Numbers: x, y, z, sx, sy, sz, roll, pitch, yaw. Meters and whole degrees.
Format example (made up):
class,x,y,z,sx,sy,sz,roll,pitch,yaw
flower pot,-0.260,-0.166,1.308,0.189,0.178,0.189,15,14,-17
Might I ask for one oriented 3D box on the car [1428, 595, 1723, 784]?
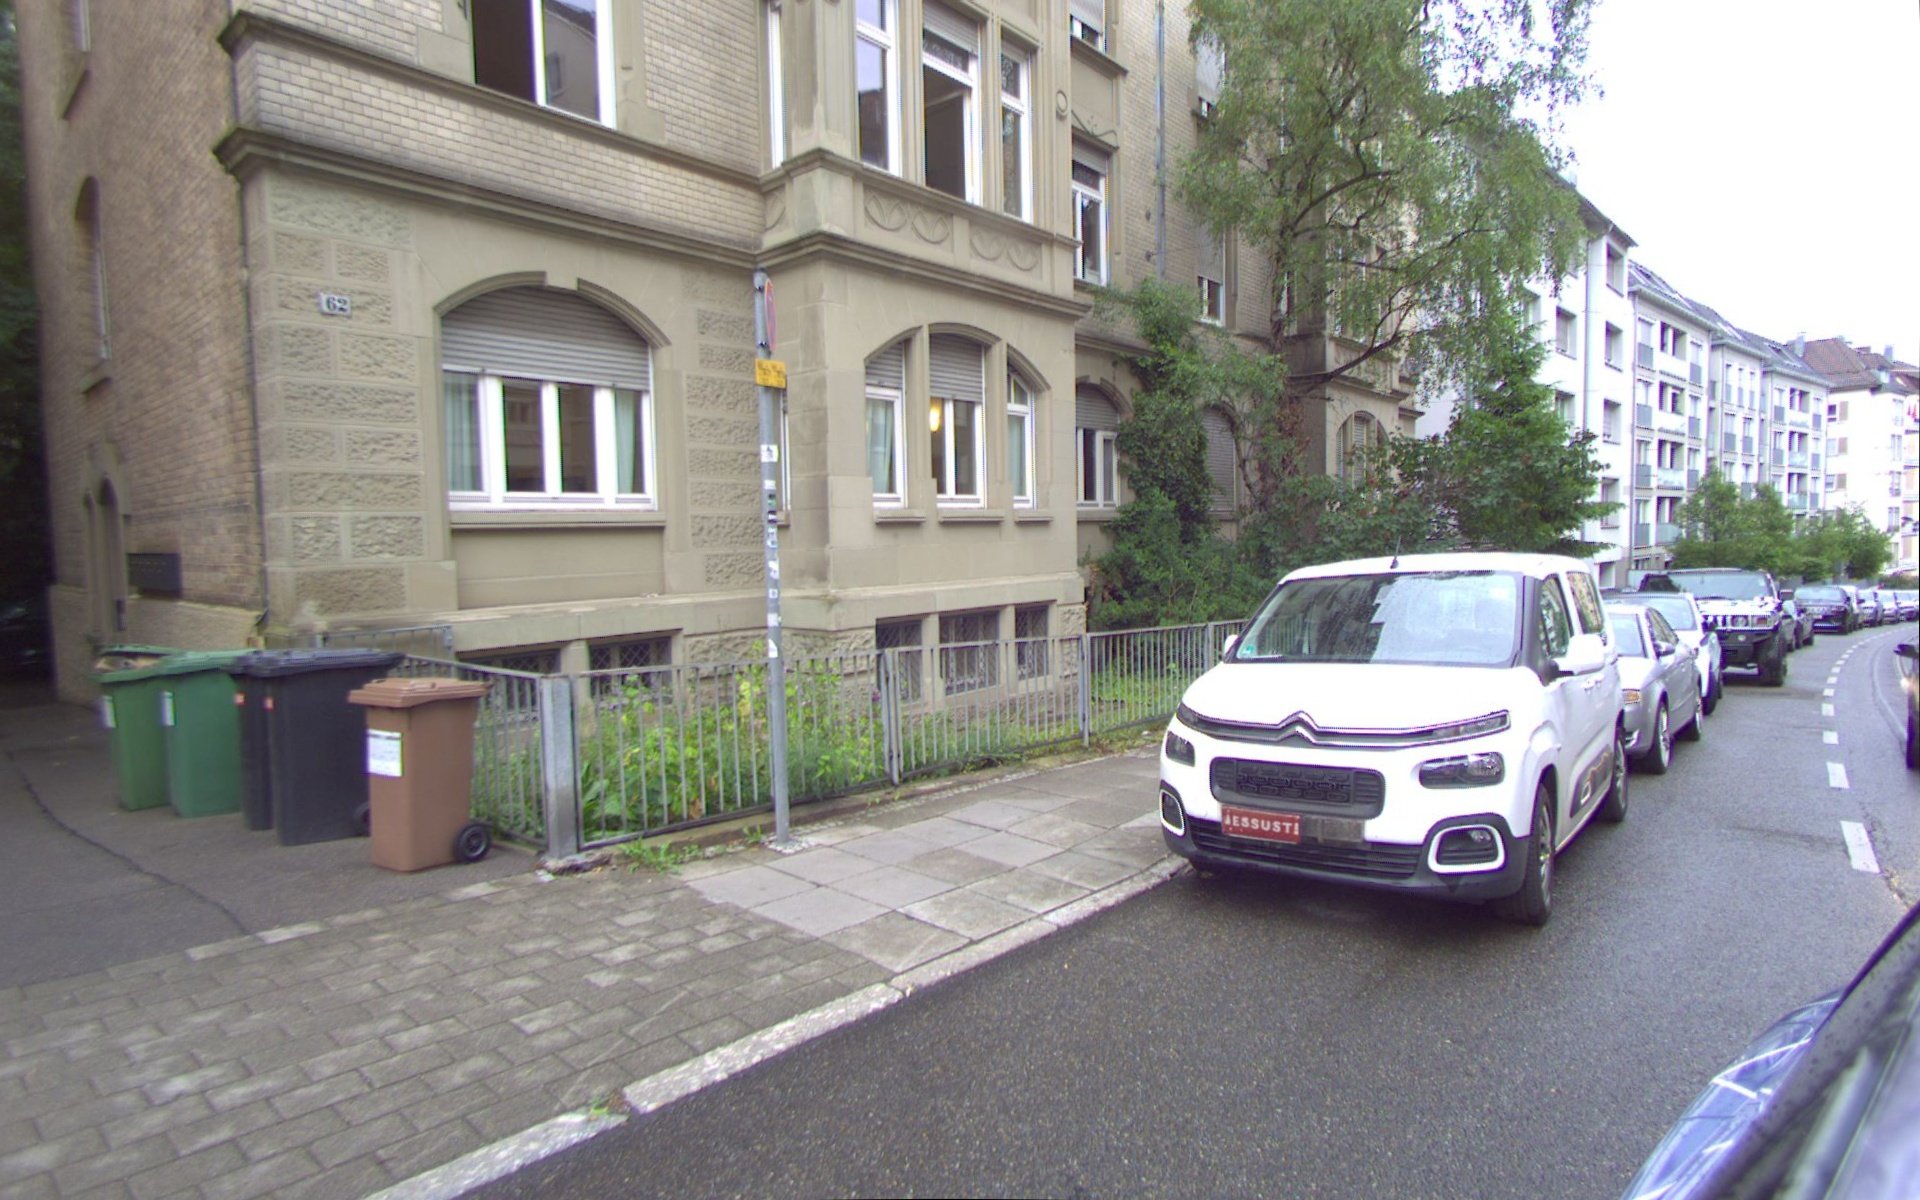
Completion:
class,x,y,z,sx,sy,sz,roll,pitch,yaw
car,6.262,0.687,10.041,1.747,1.418,4.411,-1,0,41

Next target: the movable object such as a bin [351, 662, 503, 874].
class,x,y,z,sx,sy,sz,roll,pitch,yaw
movable object such as a bin,-2.673,0.811,5.085,0.425,0.931,0.529,3,2,38

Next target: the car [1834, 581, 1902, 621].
class,x,y,z,sx,sy,sz,roll,pitch,yaw
car,41.373,0.010,46.082,4.608,1.676,1.834,-1,2,-43

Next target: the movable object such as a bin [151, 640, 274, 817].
class,x,y,z,sx,sy,sz,roll,pitch,yaw
movable object such as a bin,-4.924,0.815,6.669,0.495,1.075,0.547,-3,-1,41

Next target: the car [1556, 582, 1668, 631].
class,x,y,z,sx,sy,sz,roll,pitch,yaw
car,20.578,0.175,31.895,4.079,1.444,1.816,0,0,-39

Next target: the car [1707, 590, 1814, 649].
class,x,y,z,sx,sy,sz,roll,pitch,yaw
car,20.409,0.436,25.750,3.819,1.355,1.679,-1,1,-44

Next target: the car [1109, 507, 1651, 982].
class,x,y,z,sx,sy,sz,roll,pitch,yaw
car,2.826,0.525,6.096,1.795,1.787,4.399,-1,0,40

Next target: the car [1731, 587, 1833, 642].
class,x,y,z,sx,sy,sz,roll,pitch,yaw
car,23.665,0.352,29.089,4.535,1.455,1.795,-1,1,-45

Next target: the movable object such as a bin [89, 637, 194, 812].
class,x,y,z,sx,sy,sz,roll,pitch,yaw
movable object such as a bin,-5.602,0.822,6.927,0.518,1.116,0.471,-3,-1,42

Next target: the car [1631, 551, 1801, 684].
class,x,y,z,sx,sy,sz,roll,pitch,yaw
car,13.758,0.250,18.273,2.126,2.039,5.272,-1,0,40

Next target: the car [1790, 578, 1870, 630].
class,x,y,z,sx,sy,sz,roll,pitch,yaw
car,32.949,0.094,38.282,1.943,1.817,4.743,1,2,45

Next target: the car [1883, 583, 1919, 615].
class,x,y,z,sx,sy,sz,roll,pitch,yaw
car,49.803,-0.075,53.100,1.975,1.604,4.495,2,2,43

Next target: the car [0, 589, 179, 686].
class,x,y,z,sx,sy,sz,roll,pitch,yaw
car,-17.194,0.659,18.815,3.933,1.529,1.796,7,-1,-45

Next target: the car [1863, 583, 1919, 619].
class,x,y,z,sx,sy,sz,roll,pitch,yaw
car,45.658,-0.012,49.530,4.587,1.648,1.834,-1,2,-44

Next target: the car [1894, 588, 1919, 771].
class,x,y,z,sx,sy,sz,roll,pitch,yaw
car,9.658,0.647,9.094,1.734,1.472,3.940,2,2,41

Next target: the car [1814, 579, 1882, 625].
class,x,y,z,sx,sy,sz,roll,pitch,yaw
car,37.133,0.050,42.277,4.398,1.817,1.780,-1,2,-44

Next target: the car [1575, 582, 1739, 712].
class,x,y,z,sx,sy,sz,roll,pitch,yaw
car,9.699,0.549,13.987,1.558,1.565,3.533,-1,0,40

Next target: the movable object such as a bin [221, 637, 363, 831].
class,x,y,z,sx,sy,sz,roll,pitch,yaw
movable object such as a bin,-4.074,0.783,6.175,0.498,1.075,0.600,-3,-1,41

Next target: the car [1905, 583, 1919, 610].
class,x,y,z,sx,sy,sz,roll,pitch,yaw
car,57.011,-0.209,59.267,4.704,1.534,1.862,-1,2,-40

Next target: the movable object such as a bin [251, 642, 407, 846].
class,x,y,z,sx,sy,sz,roll,pitch,yaw
movable object such as a bin,-3.597,0.779,5.771,0.653,1.043,0.528,-1,-1,-43
